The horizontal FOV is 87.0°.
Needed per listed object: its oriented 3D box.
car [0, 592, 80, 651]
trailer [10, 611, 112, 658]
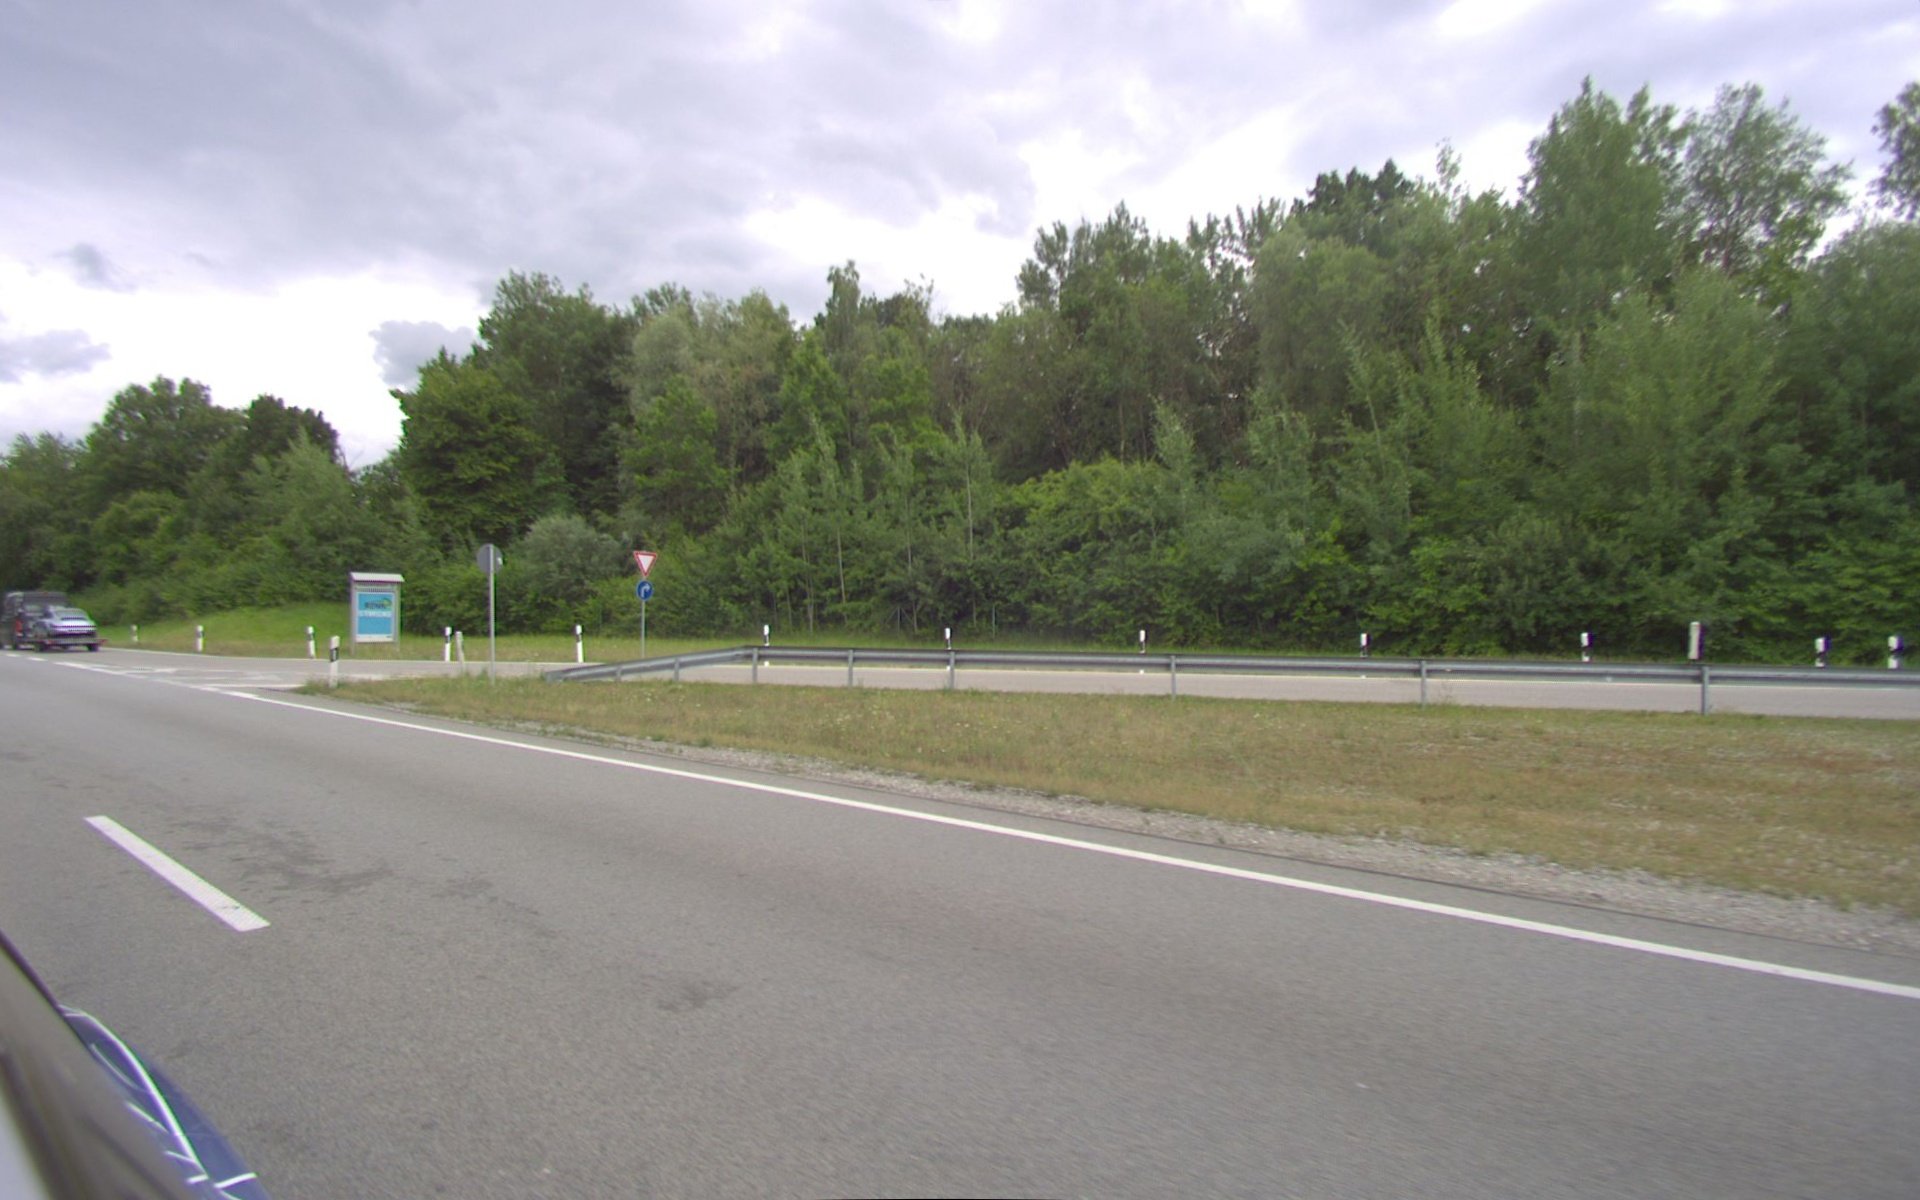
[{"bbox_3d":[-42.934,0.990,46.559,7.151,2.549,2.235,-1,-2,37],"label":"car"},{"bbox_3d":[-37.839,1.408,42.563,5.679,1.805,2.036,-1,0,36],"label":"trailer"}]
